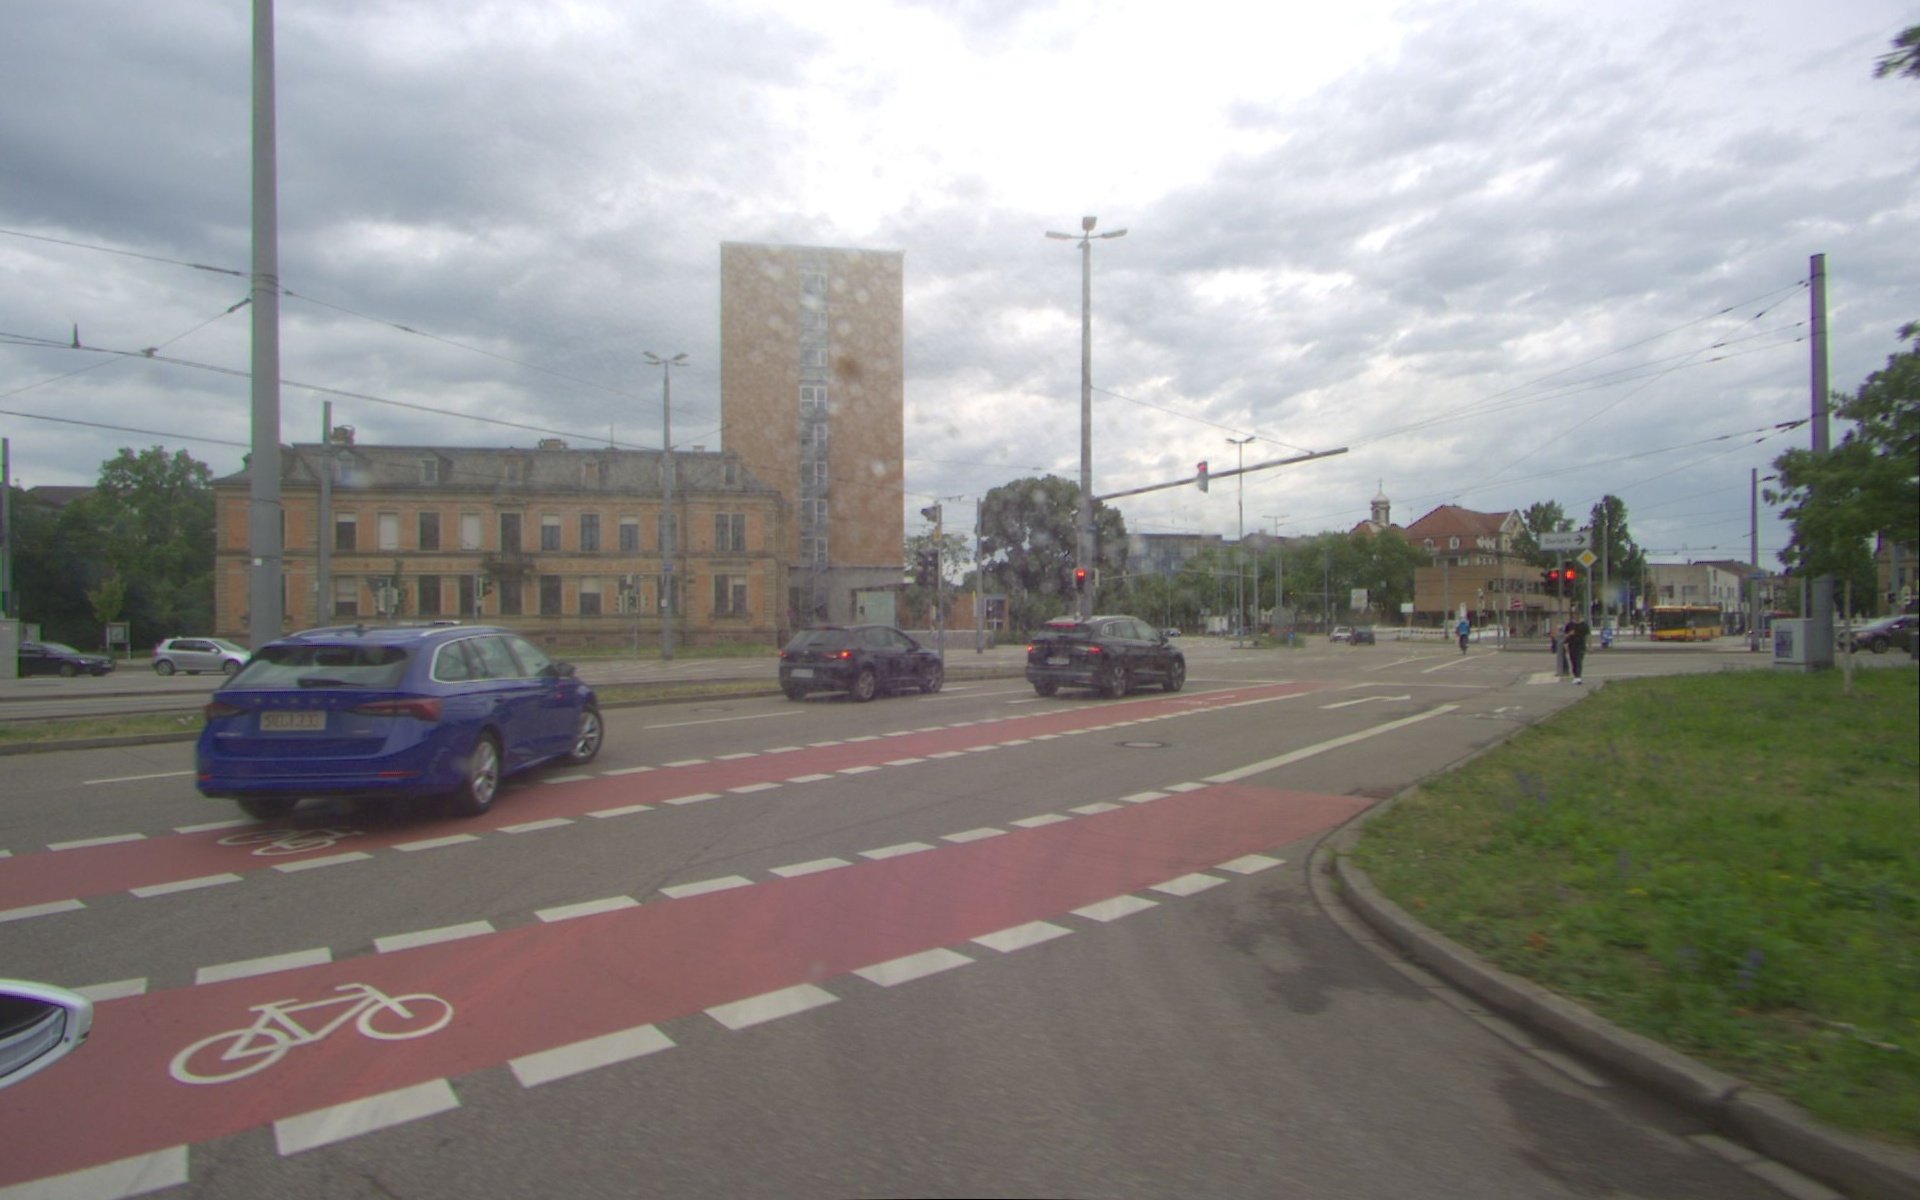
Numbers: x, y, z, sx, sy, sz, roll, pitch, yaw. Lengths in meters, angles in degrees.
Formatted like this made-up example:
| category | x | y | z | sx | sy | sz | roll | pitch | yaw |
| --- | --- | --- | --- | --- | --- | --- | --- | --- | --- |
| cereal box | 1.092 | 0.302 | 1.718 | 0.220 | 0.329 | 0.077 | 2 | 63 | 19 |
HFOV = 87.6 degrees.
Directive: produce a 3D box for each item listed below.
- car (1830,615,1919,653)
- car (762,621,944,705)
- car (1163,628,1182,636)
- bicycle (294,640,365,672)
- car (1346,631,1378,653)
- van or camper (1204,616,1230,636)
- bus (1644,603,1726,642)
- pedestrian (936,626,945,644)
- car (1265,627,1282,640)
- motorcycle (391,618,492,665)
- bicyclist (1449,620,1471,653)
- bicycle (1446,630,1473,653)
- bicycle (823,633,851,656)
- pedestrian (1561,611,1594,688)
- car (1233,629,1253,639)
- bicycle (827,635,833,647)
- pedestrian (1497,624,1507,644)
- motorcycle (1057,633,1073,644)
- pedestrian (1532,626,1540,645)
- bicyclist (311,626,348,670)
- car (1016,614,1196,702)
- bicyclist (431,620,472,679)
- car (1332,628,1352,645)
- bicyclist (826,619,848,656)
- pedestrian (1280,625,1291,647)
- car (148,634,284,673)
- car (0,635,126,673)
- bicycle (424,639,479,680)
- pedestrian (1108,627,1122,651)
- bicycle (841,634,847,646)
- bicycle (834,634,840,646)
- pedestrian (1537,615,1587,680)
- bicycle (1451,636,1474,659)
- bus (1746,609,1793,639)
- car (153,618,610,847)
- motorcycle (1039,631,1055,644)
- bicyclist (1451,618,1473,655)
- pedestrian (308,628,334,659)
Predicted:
| category | x | y | z | sx | sy | sz | roll | pitch | yaw |
| --- | --- | --- | --- | --- | --- | --- | --- | --- | --- |
| car | 41.600 | 1.514 | 44.440 | 4.149 | 1.661 | 1.803 | 0 | -1 | 10 |
| car | -1.961 | 1.145 | 19.430 | 1.684 | 1.467 | 3.797 | 0 | -1 | 28 |
| car | 36.117 | 5.455 | 170.554 | 1.749 | 1.483 | 3.998 | 0 | -2 | -12 |
| bicycle | -24.309 | 2.147 | 38.630 | 2.155 | 1.223 | 0.858 | 0 | -2 | -4 |
| car | 33.046 | 3.460 | 82.353 | 1.963 | 1.705 | 3.998 | 0 | -3 | 15 |
| van or camper | 42.197 | 4.236 | 164.458 | 2.349 | 3.164 | 5.504 | 0 | -1 | -5 |
| bus | 63.191 | 1.990 | 87.165 | 11.408 | 3.163 | 2.947 | 1 | -2 | -39 |
| pedestrian | -1.437 | 2.613 | 74.607 | 0.563 | 1.353 | 0.498 | 0 | -1 | -14 |
| car | 38.729 | 4.121 | 123.791 | 1.749 | 1.483 | 3.997 | 0 | -1 | 15 |
| motorcycle | -23.087 | 1.855 | 44.706 | 3.616 | 2.039 | 1.696 | 0 | -1 | -5 |
| bicyclist | 26.748 | 1.938 | 53.561 | 0.869 | 1.754 | 0.893 | 0 | -1 | 15 |
| bicycle | 26.800 | 2.188 | 53.744 | 0.878 | 1.193 | 2.300 | 0 | -1 | 15 |
| bicycle | -6.564 | 2.370 | 53.550 | 0.811 | 1.223 | 2.234 | -1 | -2 | 11 |
| pedestrian | 15.263 | 1.206 | 24.760 | 0.531 | 1.867 | 0.979 | -1 | -1 | 41 |
| car | 45.012 | 5.434 | 159.144 | 1.747 | 1.483 | 4.000 | 0 | -1 | -5 |
| bicycle | -12.405 | 3.948 | 95.671 | 0.561 | 1.120 | 1.428 | 0 | -1 | -6 |
| pedestrian | 53.713 | 3.382 | 99.287 | 0.703 | 1.943 | 0.617 | -1 | -1 | 44 |
| motorcycle | 10.401 | 3.801 | 98.888 | 1.726 | 1.125 | 0.507 | 1 | -1 | -41 |
| pedestrian | 59.078 | 3.627 | 102.714 | 0.616 | 1.943 | 0.705 | -1 | -1 | 40 |
| bicyclist | -24.305 | 1.847 | 38.640 | 0.900 | 1.643 | 0.855 | 0 | -1 | -3 |
| car | 3.135 | 1.132 | 20.768 | 1.761 | 1.617 | 4.479 | -1 | -2 | 37 |
| bicyclist | -16.232 | 1.578 | 31.958 | 1.017 | 1.822 | 0.810 | -1 | 0 | 39 |
| car | 36.523 | 3.474 | 95.838 | 1.750 | 1.483 | 3.993 | 0 | -1 | 20 |
| bicyclist | -6.570 | 1.993 | 53.549 | 0.816 | 1.916 | 1.048 | -2 | -1 | 11 |
| pedestrian | 23.429 | 2.609 | 72.054 | 0.718 | 1.561 | 0.416 | 0 | -1 | 25 |
| car | -29.839 | 2.122 | 40.240 | 4.080 | 1.472 | 1.762 | 0 | -1 | -3 |
| car | -35.932 | 2.145 | 39.867 | 4.062 | 1.467 | 1.697 | 0 | -1 | 1 |
| bicycle | -16.281 | 1.900 | 32.016 | 1.976 | 1.258 | 0.810 | -3 | -2 | 39 |
| pedestrian | 12.468 | 3.117 | 80.464 | 1.011 | 1.959 | 0.701 | -1 | -1 | 12 |
| bicycle | -11.098 | 3.824 | 95.851 | 0.500 | 1.062 | 1.428 | 0 | -1 | -6 |
| bicycle | -11.749 | 3.820 | 95.779 | 0.561 | 1.120 | 1.428 | 0 | -1 | -6 |
| pedestrian | 18.086 | 1.415 | 30.099 | 1.083 | 1.931 | 0.735 | 1 | -1 | -6 |
| bicycle | 25.522 | 2.382 | 50.877 | 0.856 | 1.119 | 2.291 | 0 | -1 | 32 |
| bus | 94.695 | 2.818 | 117.032 | 10.882 | 3.325 | 2.638 | 1 | -2 | -43 |
| car | -4.608 | 0.955 | 8.889 | 1.751 | 1.507 | 4.467 | 0 | -2 | -5 |
| motorcycle | 8.518 | 3.667 | 97.919 | 1.444 | 1.284 | 0.511 | 0 | -1 | -9 |
| bicyclist | 25.567 | 1.865 | 50.981 | 0.861 | 1.875 | 1.043 | -2 | -2 | 31 |
| pedestrian | -37.923 | 2.567 | 59.411 | 1.107 | 1.786 | 0.757 | 0 | -1 | -16 |
